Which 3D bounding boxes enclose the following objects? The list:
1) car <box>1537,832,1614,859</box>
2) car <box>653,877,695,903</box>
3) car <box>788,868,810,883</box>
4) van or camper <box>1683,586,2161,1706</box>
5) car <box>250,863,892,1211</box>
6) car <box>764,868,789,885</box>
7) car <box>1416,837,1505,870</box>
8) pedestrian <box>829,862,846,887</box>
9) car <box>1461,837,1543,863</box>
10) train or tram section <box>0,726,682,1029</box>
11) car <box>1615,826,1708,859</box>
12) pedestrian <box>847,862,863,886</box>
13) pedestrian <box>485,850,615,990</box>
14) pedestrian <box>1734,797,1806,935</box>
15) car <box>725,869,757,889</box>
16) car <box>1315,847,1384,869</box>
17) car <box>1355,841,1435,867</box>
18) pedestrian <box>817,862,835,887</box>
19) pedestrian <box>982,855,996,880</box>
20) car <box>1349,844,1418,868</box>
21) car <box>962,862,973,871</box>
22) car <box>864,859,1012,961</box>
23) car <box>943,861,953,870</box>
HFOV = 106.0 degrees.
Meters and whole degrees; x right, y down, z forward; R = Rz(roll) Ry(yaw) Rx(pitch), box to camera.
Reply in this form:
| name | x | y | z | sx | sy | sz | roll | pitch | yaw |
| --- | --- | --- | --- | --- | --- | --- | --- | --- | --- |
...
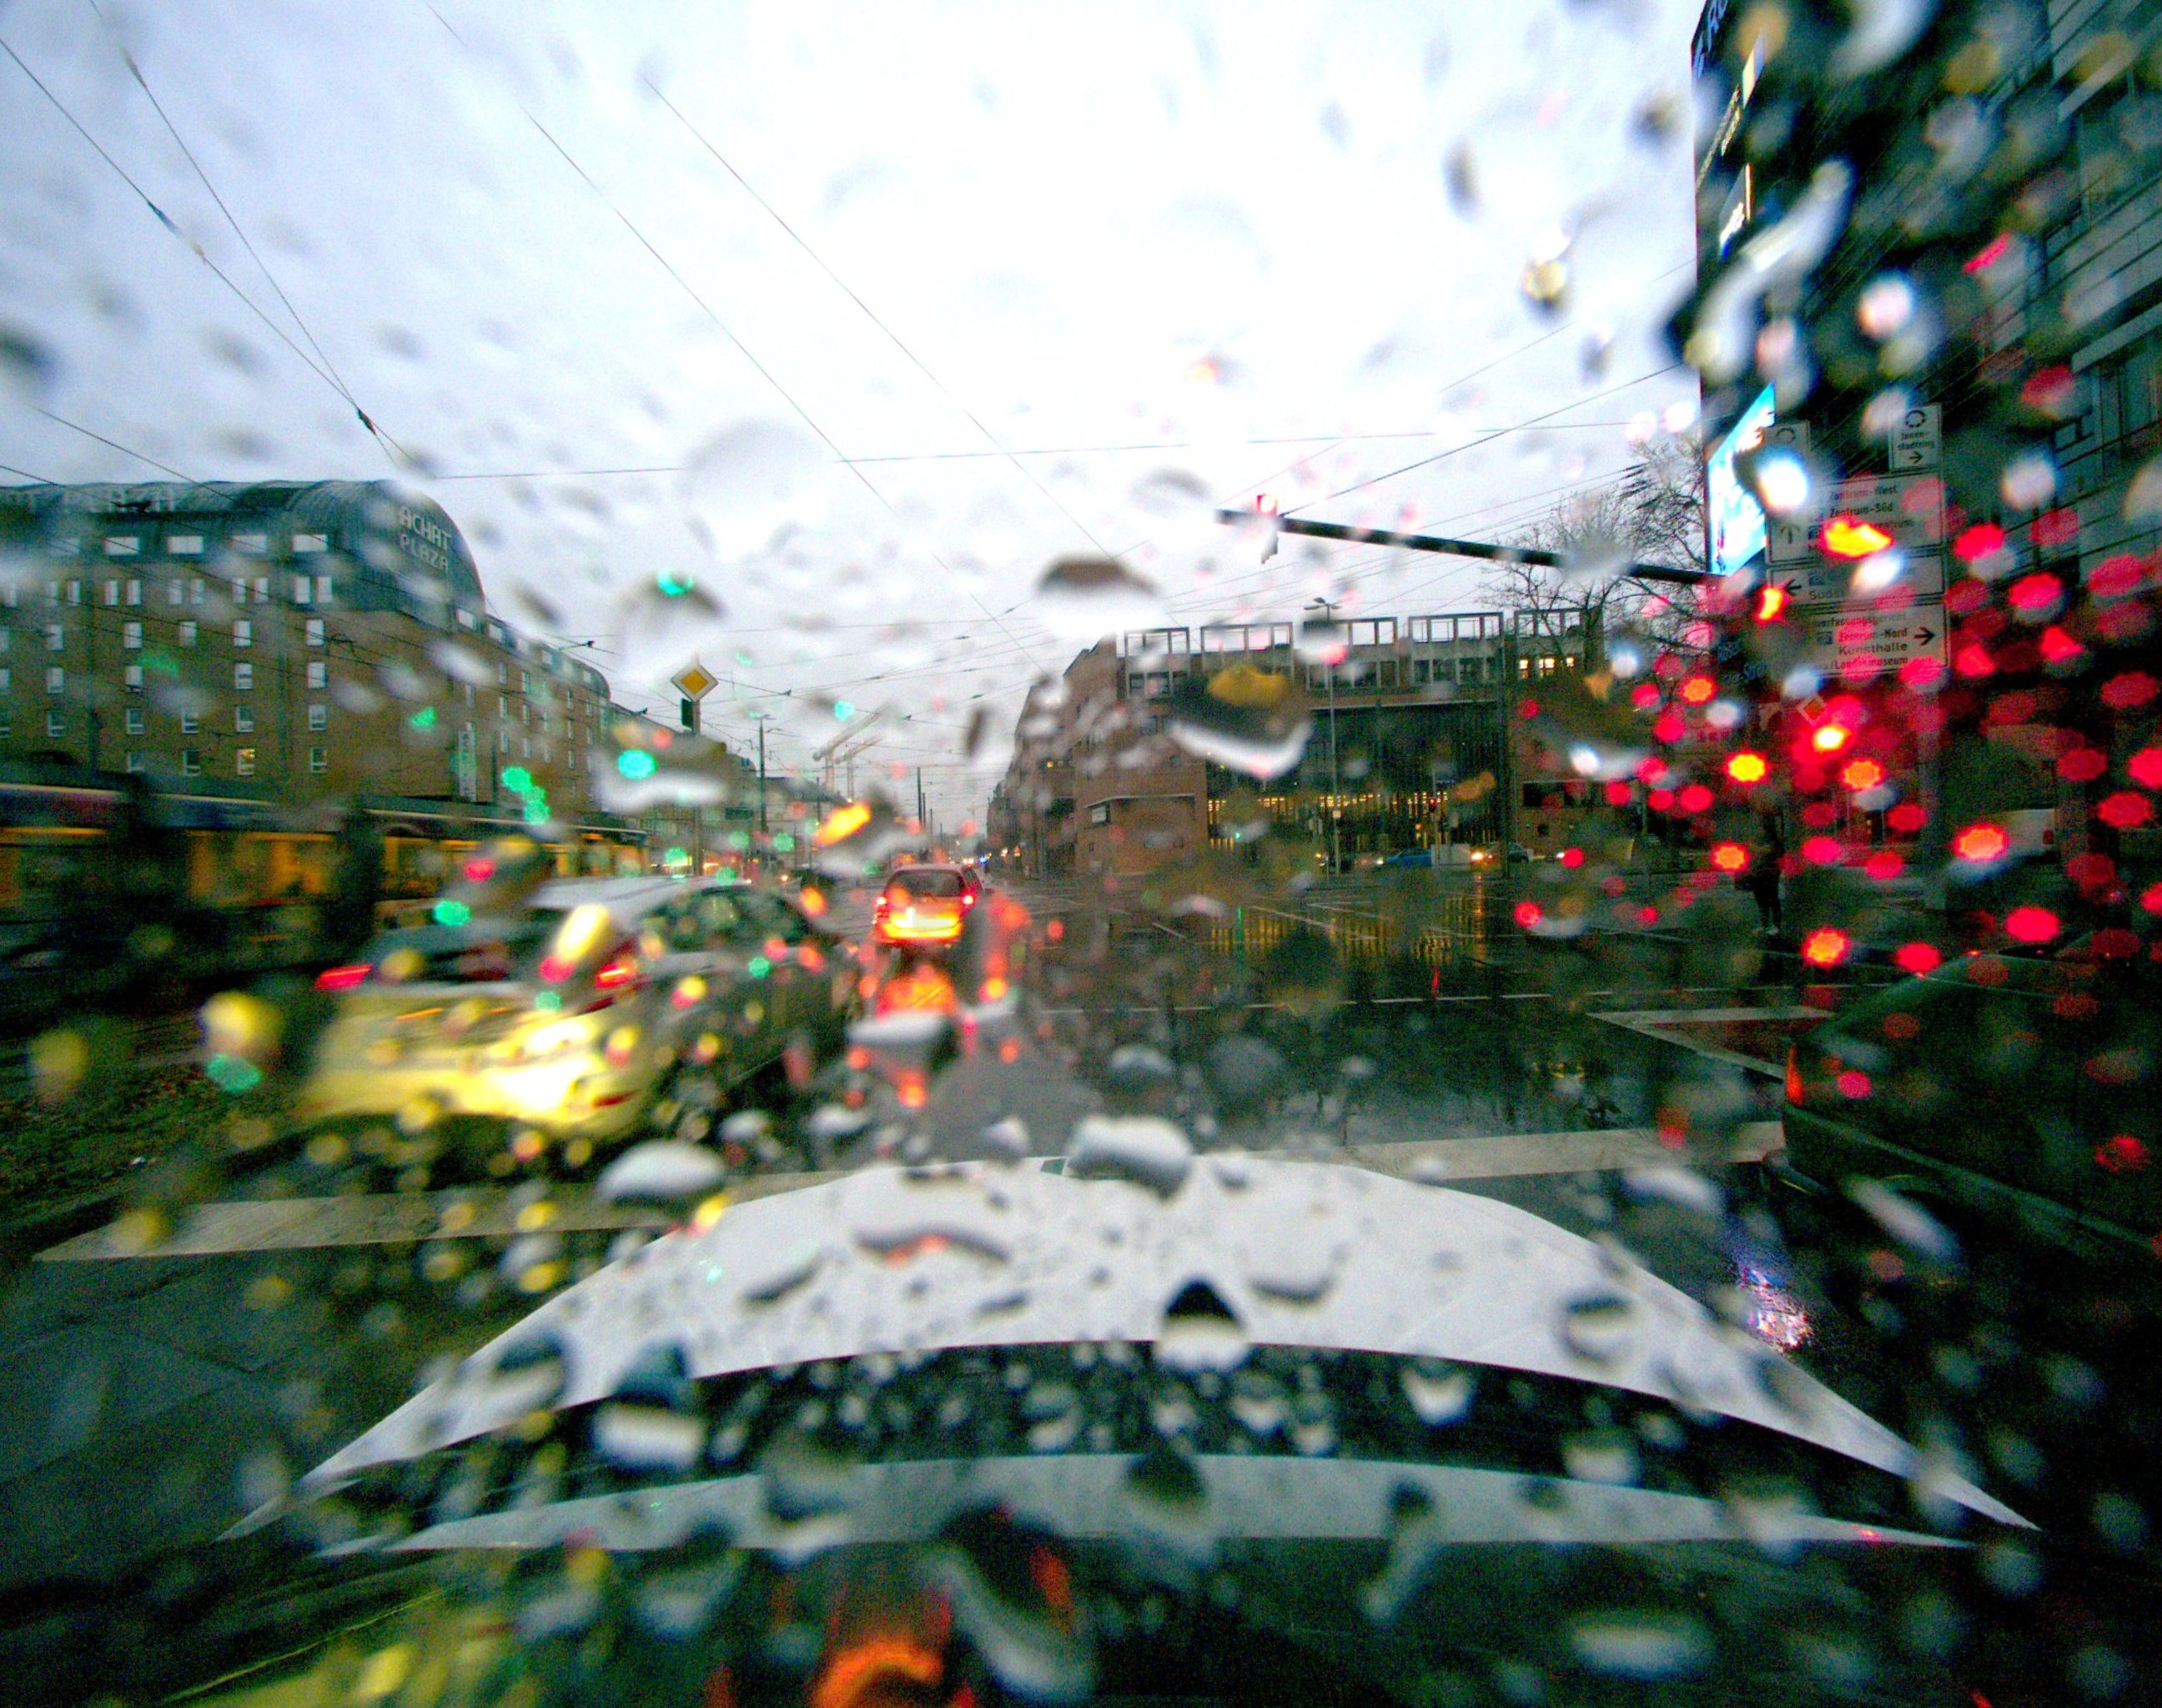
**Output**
| name | x | y | z | sx | sy | sz | roll | pitch | yaw |
| --- | --- | --- | --- | --- | --- | --- | --- | --- | --- |
| car | 32.155 | -0.589 | 53.067 | 3.979 | 1.504 | 1.845 | -2 | 4 | -4 |
| car | -27.826 | 2.403 | 55.628 | 2.058 | 1.561 | 4.784 | -2 | 0 | -32 |
| car | -32.017 | 2.392 | 92.443 | 1.787 | 1.624 | 3.850 | -1 | 0 | -11 |
| van or camper | 2.675 | 0.492 | 0.289 | 1.750 | 1.906 | 4.420 | -1 | 0 | 2 |
| car | -2.712 | 0.839 | 5.564 | 1.699 | 1.448 | 4.002 | -3 | -1 | 2 |
| car | -31.061 | 2.288 | 83.118 | 1.787 | 1.624 | 3.850 | -1 | 0 | -11 |
| car | 20.430 | -0.064 | 43.884 | 3.979 | 1.504 | 1.845 | -2 | 4 | -4 |
| pedestrian | -19.788 | 1.649 | 66.073 | 0.973 | 2.014 | 0.838 | -1 | -1 | 16 |
| car | 24.816 | -0.263 | 48.070 | 3.979 | 1.288 | 1.845 | -2 | 4 | -4 |
| train or tram section | -14.660 | 0.382 | 18.029 | 2.857 | 3.614 | 19.194 | -2 | 0 | -2 |
| car | 32.244 | -0.663 | 45.322 | 3.979 | 1.600 | 1.845 | -2 | 4 | -4 |
| pedestrian | -18.751 | 1.663 | 67.546 | 0.973 | 2.014 | 0.838 | -1 | -1 | 16 |
| pedestrian | -6.476 | 0.778 | 9.976 | 0.707 | 1.601 | 1.042 | -4 | -1 | 23 |
| pedestrian | 11.252 | 0.192 | 13.314 | 0.574 | 2.184 | 0.619 | -1 | -1 | -4 |
| car | -29.663 | 2.153 | 71.155 | 1.787 | 1.624 | 3.850 | -1 | 0 | -11 |
| car | 18.242 | 0.285 | 55.436 | 3.977 | 1.310 | 1.998 | -2 | 0 | -2 |
| car | 18.309 | 0.008 | 47.517 | 3.979 | 1.263 | 1.845 | -2 | 4 | -4 |
| pedestrian | -20.332 | 1.636 | 64.921 | 0.973 | 2.014 | 0.838 | -1 | -1 | 16 |
| pedestrian | -7.513 | 1.067 | 66.467 | 1.069 | 2.013 | 0.682 | -2 | 0 | -12 |
| car | 19.141 | 0.114 | 51.586 | 3.713 | 1.263 | 1.845 | -2 | 4 | -4 |
| car | -21.452 | 2.315 | 153.628 | 1.868 | 1.579 | 3.991 | 0 | 0 | -6 |
| car | -2.302 | 0.846 | 14.074 | 1.691 | 1.459 | 3.759 | -2 | 0 | 2 |
| car | -26.935 | 2.323 | 164.850 | 1.869 | 1.579 | 3.989 | 0 | 0 | -8 |
